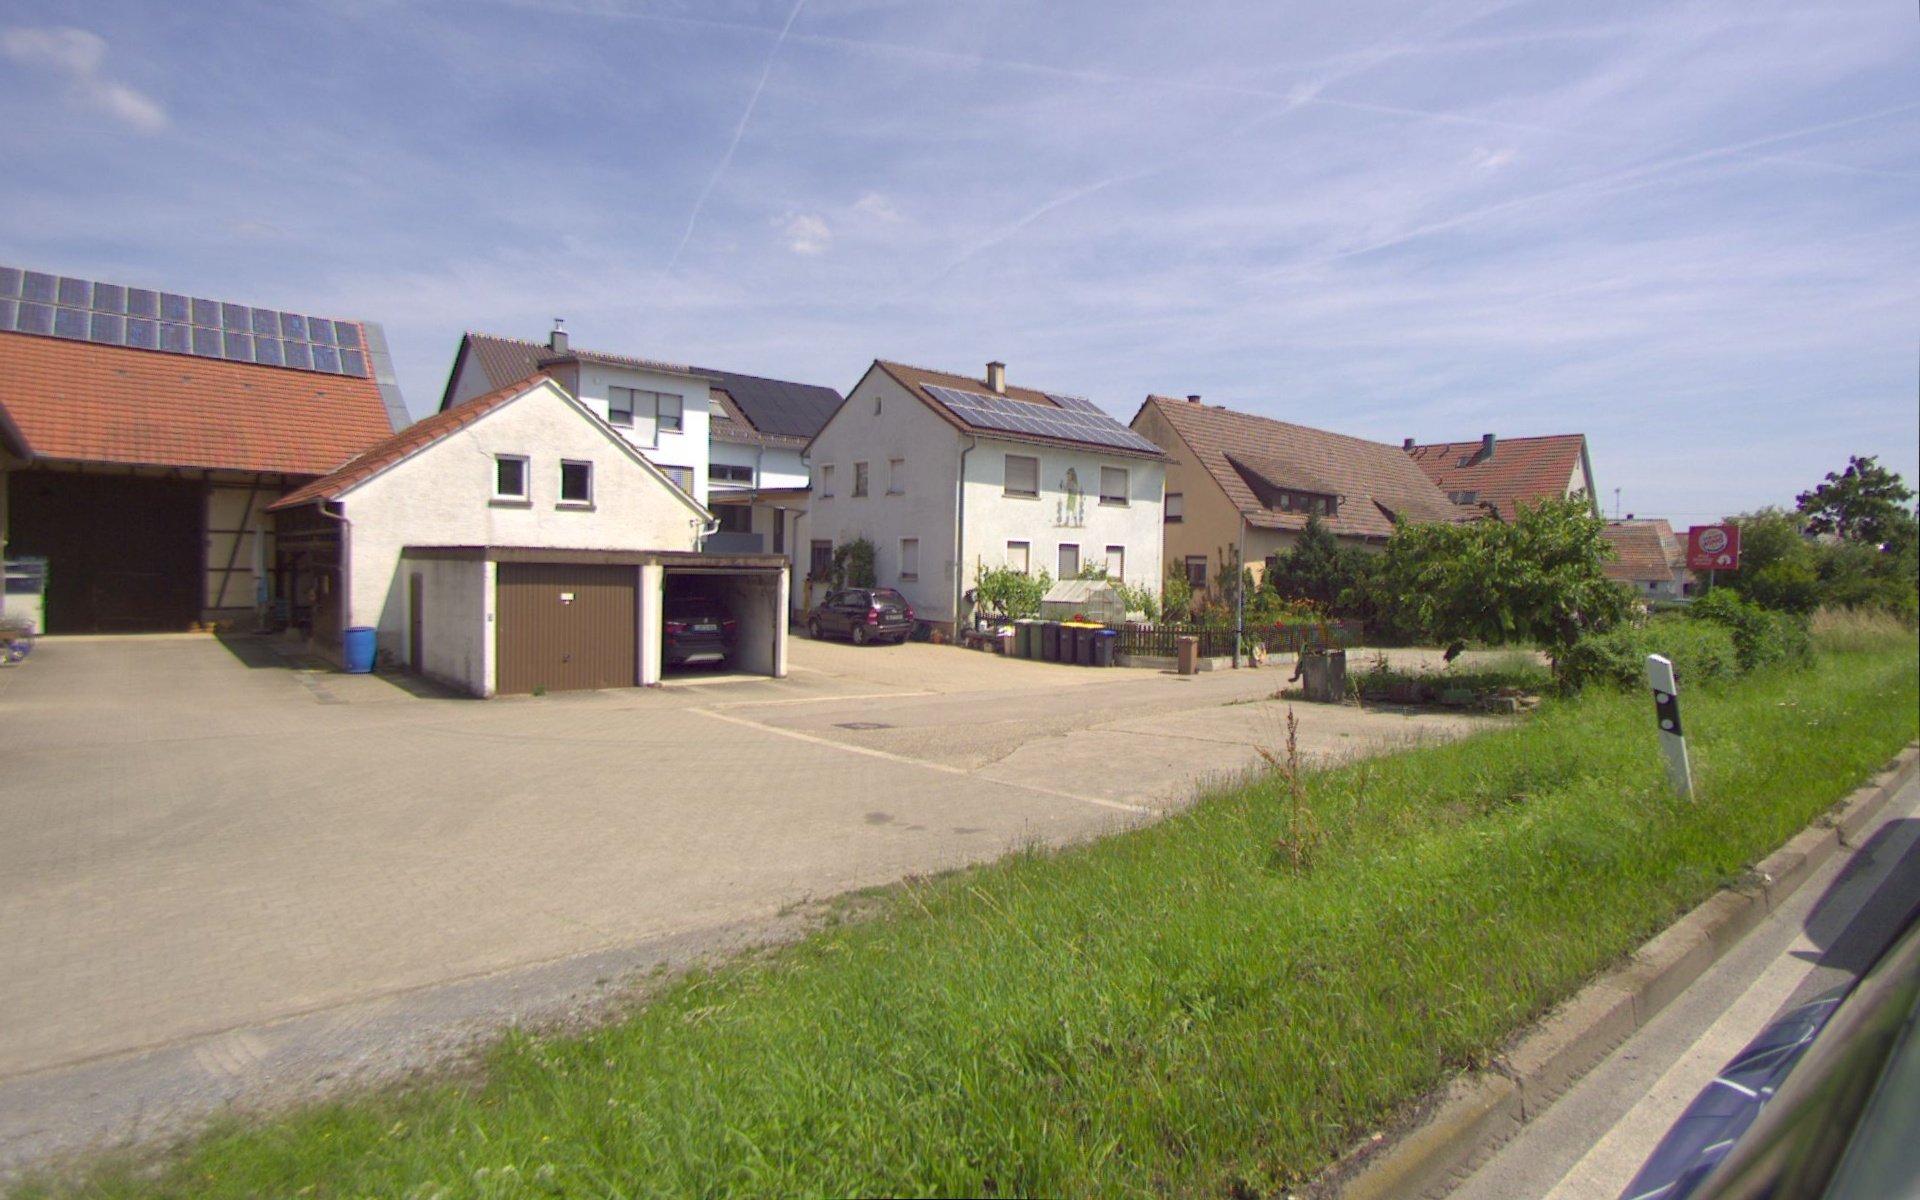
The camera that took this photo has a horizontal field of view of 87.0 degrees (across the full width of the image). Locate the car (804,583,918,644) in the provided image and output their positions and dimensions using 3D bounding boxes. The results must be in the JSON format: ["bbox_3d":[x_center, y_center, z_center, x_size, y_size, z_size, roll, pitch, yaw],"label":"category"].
[{"bbox_3d":[-3.224,0.369,32.301,1.810,1.714,3.959,-1,3,-38],"label":"car"}]

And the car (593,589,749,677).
[{"bbox_3d":[-6.322,0.621,21.866,1.802,1.597,3.996,-1,2,-40],"label":"car"}]
